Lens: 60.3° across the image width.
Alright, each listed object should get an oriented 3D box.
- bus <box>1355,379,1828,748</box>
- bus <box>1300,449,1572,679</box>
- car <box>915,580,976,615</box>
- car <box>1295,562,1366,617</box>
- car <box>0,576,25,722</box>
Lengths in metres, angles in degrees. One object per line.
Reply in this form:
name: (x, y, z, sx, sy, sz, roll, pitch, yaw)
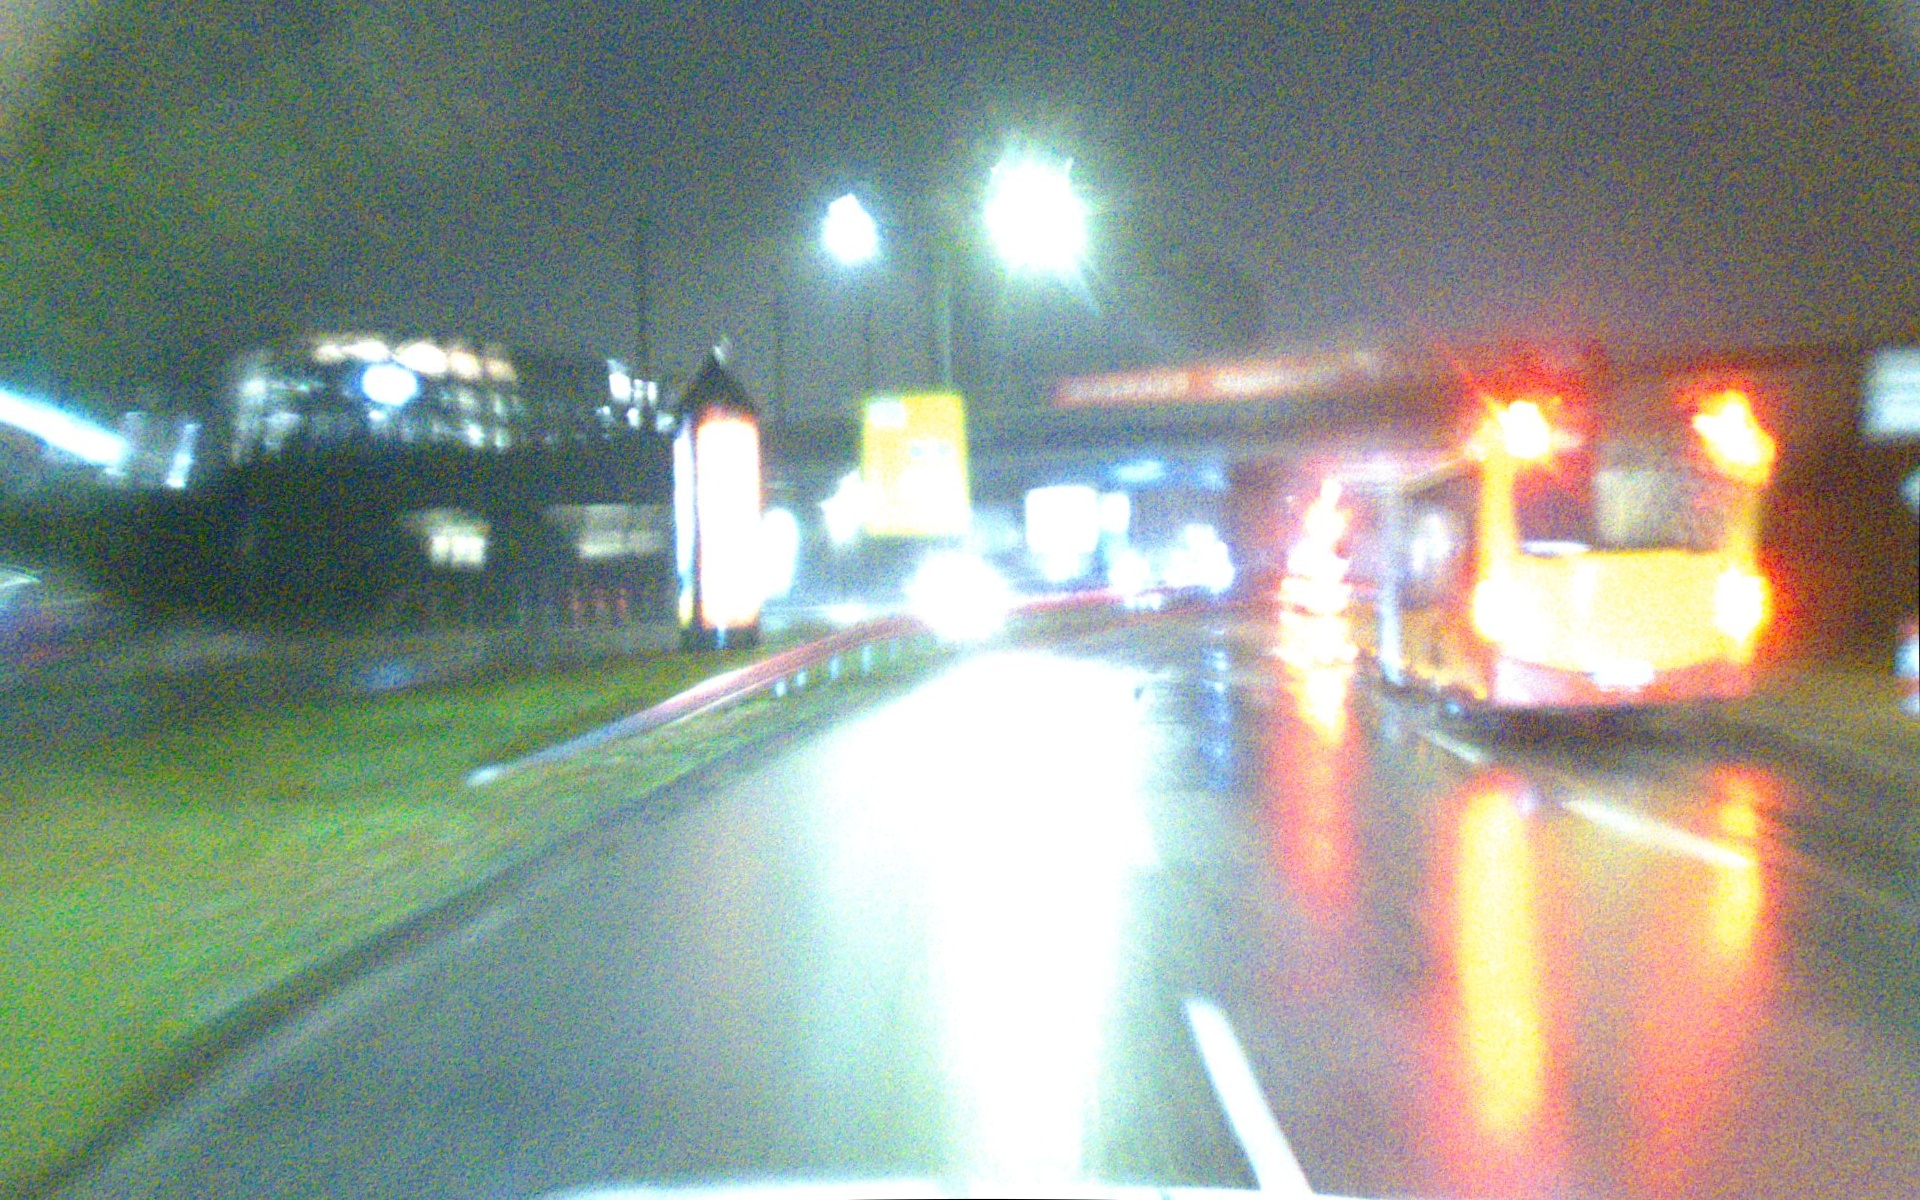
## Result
bus: (6.751, -0.437, 19.442, 2.979, 3.268, 9.058, 1, 1, 7)
bus: (7.810, -0.614, 28.472, 2.979, 3.268, 9.058, 1, 1, 7)
car: (-0.587, -0.125, 69.661, 1.533, 1.452, 3.955, 0, 1, 16)
car: (12.060, -0.361, 53.712, 1.751, 1.713, 4.001, 0, 1, 20)
car: (-11.678, 0.567, 16.857, 1.952, 1.622, 4.000, -1, 0, 1)
